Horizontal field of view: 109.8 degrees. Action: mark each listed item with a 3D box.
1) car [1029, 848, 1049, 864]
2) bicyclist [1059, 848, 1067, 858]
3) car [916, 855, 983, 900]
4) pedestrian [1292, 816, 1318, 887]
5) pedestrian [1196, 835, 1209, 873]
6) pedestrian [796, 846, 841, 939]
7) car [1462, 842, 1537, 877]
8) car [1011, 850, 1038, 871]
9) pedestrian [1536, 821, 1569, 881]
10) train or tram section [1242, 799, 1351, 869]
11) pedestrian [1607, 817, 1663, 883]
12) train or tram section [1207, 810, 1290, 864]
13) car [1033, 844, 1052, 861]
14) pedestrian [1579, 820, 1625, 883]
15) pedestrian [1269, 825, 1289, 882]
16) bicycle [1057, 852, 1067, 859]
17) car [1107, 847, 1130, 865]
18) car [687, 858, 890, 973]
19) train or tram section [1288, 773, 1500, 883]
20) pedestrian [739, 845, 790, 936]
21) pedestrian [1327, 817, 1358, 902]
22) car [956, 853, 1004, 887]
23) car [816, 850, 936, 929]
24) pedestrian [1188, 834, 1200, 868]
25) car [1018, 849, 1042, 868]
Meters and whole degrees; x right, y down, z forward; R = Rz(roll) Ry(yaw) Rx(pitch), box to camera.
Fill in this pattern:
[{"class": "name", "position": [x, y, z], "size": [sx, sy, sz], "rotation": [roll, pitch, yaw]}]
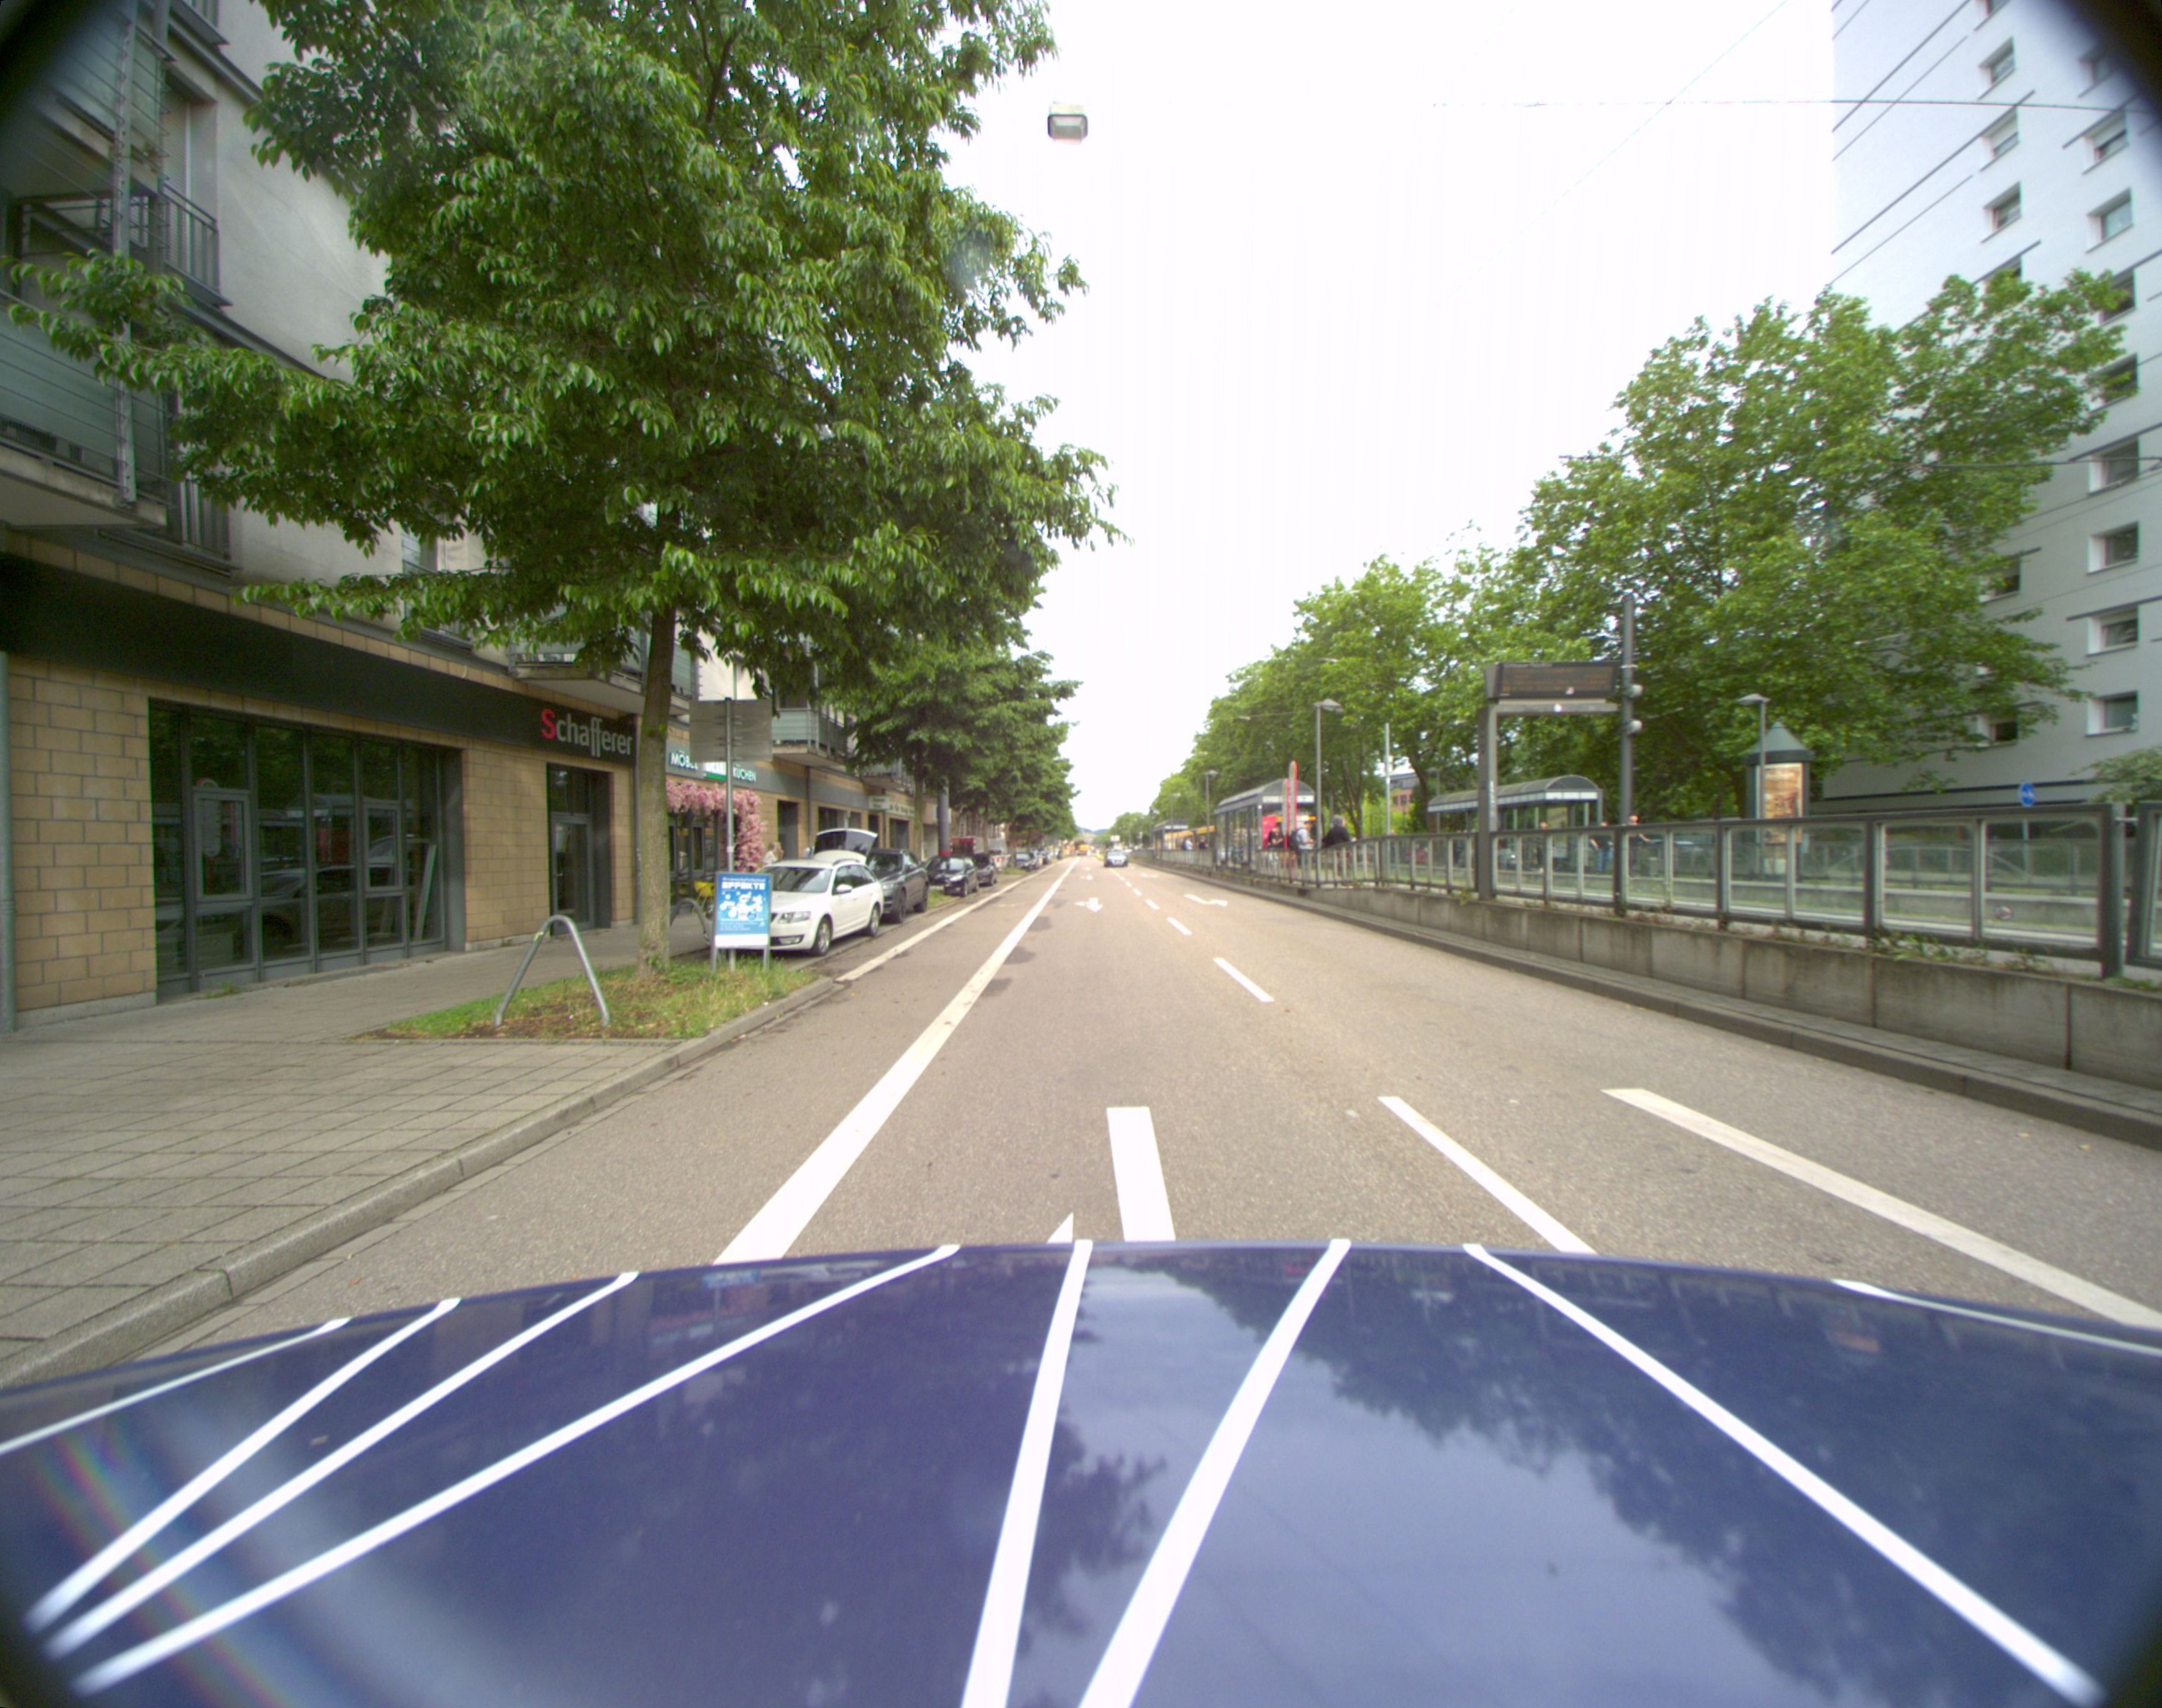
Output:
[{"class": "car", "position": [-3.967, 0.202, 72.457], "size": [1.612, 1.393, 3.667], "rotation": [2, 1, 1]}, {"class": "bicyclist", "position": [-2.628, -0.109, 109.777], "size": [0.727, 1.458, 0.810], "rotation": [-2, 1, -39]}, {"class": "car", "position": [-4.637, 0.790, 27.282], "size": [1.612, 1.370, 4.167], "rotation": [2, 1, 1]}, {"class": "pedestrian", "position": [5.754, -0.065, 19.553], "size": [0.475, 1.794, 0.605], "rotation": [-2, 1, 5]}, {"class": "pedestrian", "position": [5.848, -0.002, 36.529], "size": [0.530, 1.794, 0.606], "rotation": [-2, 1, 14]}, {"class": "pedestrian", "position": [-5.383, 0.779, 15.597], "size": [0.656, 1.873, 0.599], "rotation": [-1, 1, 1]}, {"class": "car", "position": [18.542, 0.220, 33.785], "size": [1.581, 1.420, 3.219], "rotation": [-1, 1, 0]}, {"class": "car", "position": [-4.162, 0.473, 56.282], "size": [1.612, 1.393, 3.667], "rotation": [2, 1, 1]}, {"class": "pedestrian", "position": [15.549, -0.094, 25.079], "size": [0.699, 1.919, 0.554], "rotation": [-2, 1, 1]}, {"class": "train or tram section", "position": [13.191, -1.149, 48.038], "size": [3.338, 3.731, 12.547], "rotation": [-2, 1, 1]}, {"class": "pedestrian", "position": [15.156, -0.107, 20.799], "size": [0.882, 1.746, 0.850], "rotation": [-2, 1, 1]}, {"class": "train or tram section", "position": [13.315, -1.317, 62.477], "size": [3.338, 3.731, 16.247], "rotation": [-2, 1, 1]}, {"class": "car", "position": [-3.961, -0.149, 78.227], "size": [1.612, 1.674, 3.806], "rotation": [2, 1, 1]}, {"class": "pedestrian", "position": [15.582, -0.084, 22.735], "size": [0.882, 1.823, 0.666], "rotation": [-2, 1, 1]}, {"class": "pedestrian", "position": [6.313, -0.029, 24.205], "size": [0.474, 1.794, 0.606], "rotation": [-2, 1, 26]}, {"class": "bicycle", "position": [-2.720, 0.181, 109.869], "size": [0.492, 0.925, 1.777], "rotation": [-3, 1, -39]}, {"class": "car", "position": [3.109, 0.171, 64.108], "size": [1.716, 1.379, 4.099], "rotation": [-2, 1, 1]}, {"class": "car", "position": [-4.719, 0.898, 13.007], "size": [1.738, 1.512, 4.308], "rotation": [2, 1, 1]}, {"class": "train or tram section", "position": [13.019, -0.986, 34.178], "size": [3.338, 3.731, 15.201], "rotation": [-2, 1, 1]}, {"class": "pedestrian", "position": [-6.080, 0.690, 14.617], "size": [0.738, 1.707, 0.617], "rotation": [0, 1, -6]}, {"class": "pedestrian", "position": [5.706, 0.119, 16.585], "size": [0.521, 1.794, 0.605], "rotation": [-2, 1, 13]}, {"class": "car", "position": [-4.556, 0.680, 34.743], "size": [1.612, 1.393, 3.667], "rotation": [2, 1, 1]}, {"class": "car", "position": [-4.715, 0.738, 18.010], "size": [1.738, 1.601, 3.798], "rotation": [2, 1, 1]}, {"class": "pedestrian", "position": [6.141, -0.180, 41.346], "size": [0.530, 1.794, 0.606], "rotation": [-2, 1, 14]}, {"class": "car", "position": [-4.122, 0.358, 62.171], "size": [1.612, 1.393, 3.667], "rotation": [2, 1, 1]}]
